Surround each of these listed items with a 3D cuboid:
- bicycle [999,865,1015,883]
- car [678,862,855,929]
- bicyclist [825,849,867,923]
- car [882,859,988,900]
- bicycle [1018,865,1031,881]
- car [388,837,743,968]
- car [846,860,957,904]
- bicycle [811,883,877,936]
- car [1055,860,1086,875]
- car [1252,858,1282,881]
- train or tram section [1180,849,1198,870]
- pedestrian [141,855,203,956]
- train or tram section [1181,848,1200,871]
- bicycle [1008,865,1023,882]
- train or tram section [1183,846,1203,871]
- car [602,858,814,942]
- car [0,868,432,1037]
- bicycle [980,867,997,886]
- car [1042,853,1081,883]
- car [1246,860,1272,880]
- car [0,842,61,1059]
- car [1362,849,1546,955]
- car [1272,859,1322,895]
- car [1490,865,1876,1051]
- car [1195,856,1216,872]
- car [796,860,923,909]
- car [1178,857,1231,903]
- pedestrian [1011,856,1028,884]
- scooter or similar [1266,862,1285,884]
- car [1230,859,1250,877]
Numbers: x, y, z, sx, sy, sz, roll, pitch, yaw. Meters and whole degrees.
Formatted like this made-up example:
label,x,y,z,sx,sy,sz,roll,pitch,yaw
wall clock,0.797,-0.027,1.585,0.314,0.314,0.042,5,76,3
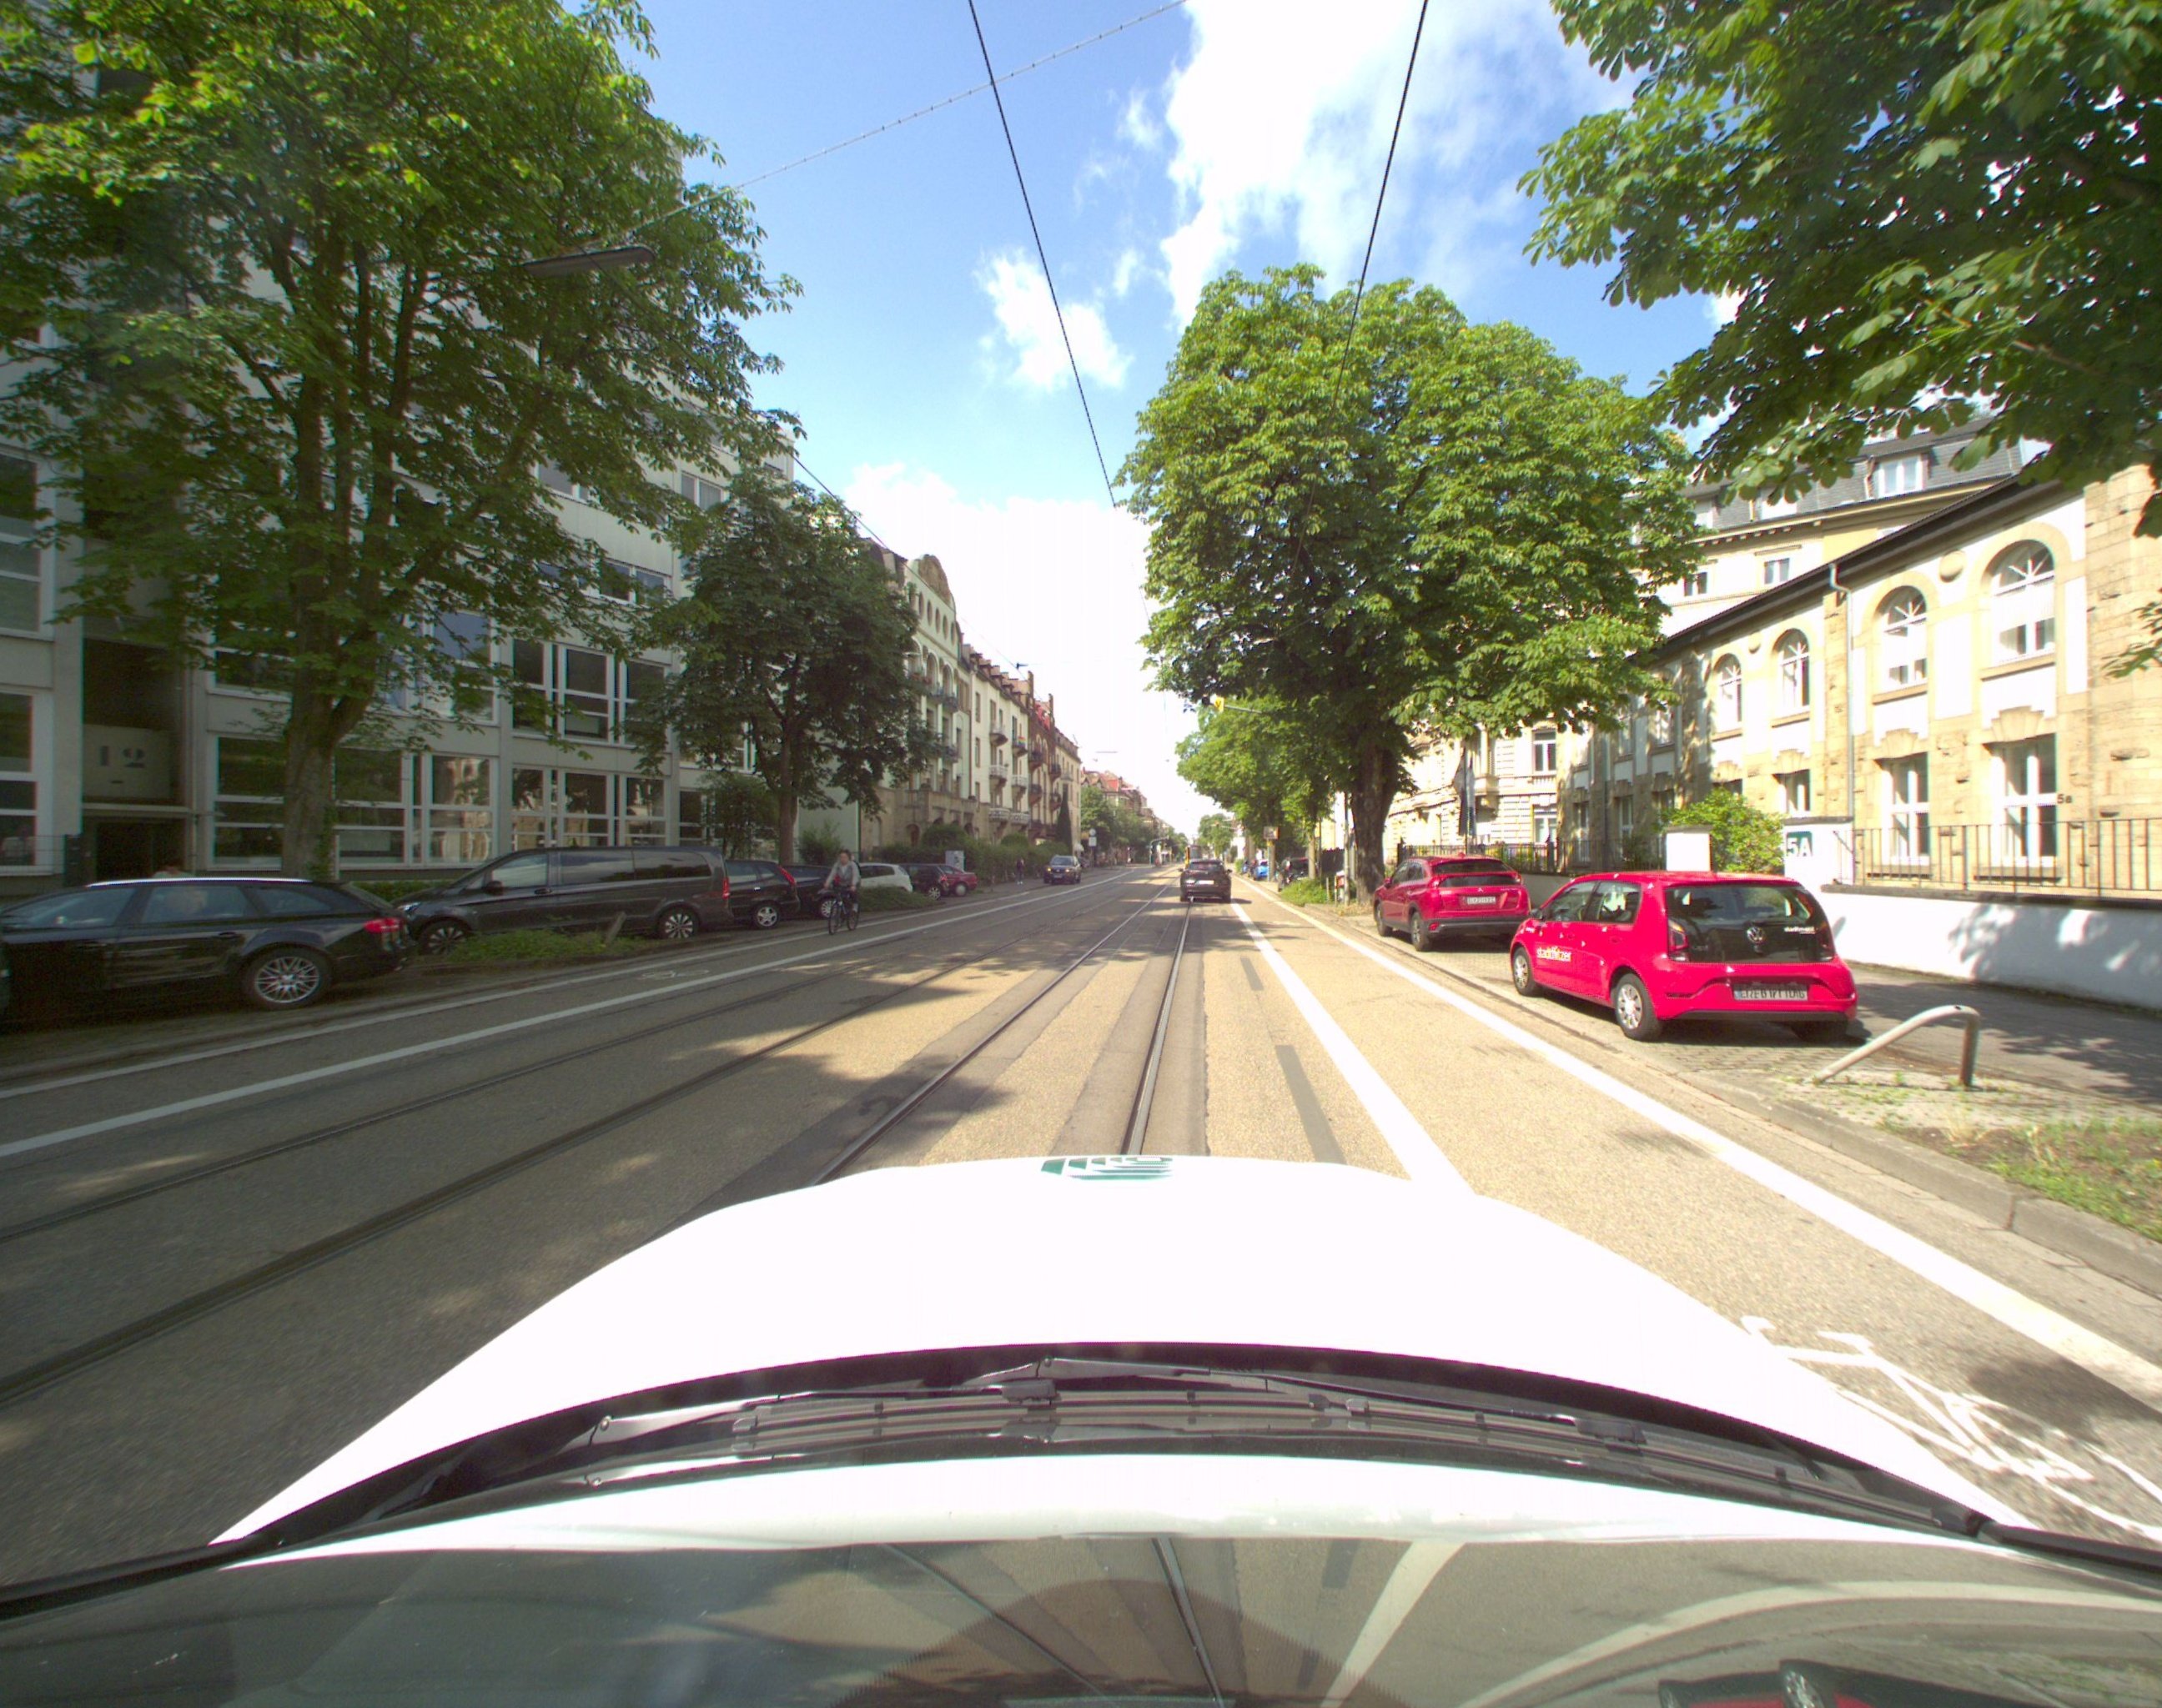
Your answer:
label,x,y,z,sx,sy,sz,roll,pitch,yaw
bicycle,-4.276,1.147,47.113,0.380,0.959,1.815,2,0,10
car,-8.173,1.029,21.273,4.016,1.484,1.722,-2,-1,-35
bicyclist,-5.118,0.699,17.798,0.638,1.577,0.743,-1,-1,6
car,-6.138,1.053,34.336,3.987,1.484,1.826,-2,-1,-35
bicycle,-3.551,1.200,51.293,0.380,0.959,1.926,2,0,10
car,-9.177,0.742,14.889,5.193,1.954,1.895,-2,-1,-38
car,-6.866,1.045,31.251,3.820,1.484,1.681,-2,-1,-32
bicycle,-5.115,1.170,17.712,0.652,1.040,2.004,-1,-1,6
car,-1.187,1.537,91.639,3.215,1.513,1.684,2,-1,11
car,13.009,1.070,57.125,1.631,1.496,3.634,-1,-1,7
train or tram section,18.275,0.981,138.543,2.639,3.528,8.508,-1,-1,5
pedestrian,-14.794,0.816,13.262,0.870,1.577,0.649,-2,-2,42
train or tram section,17.458,0.858,130.068,2.639,3.528,8.508,-1,-1,5
bicycle,-3.947,1.188,49.184,0.380,0.959,1.815,2,0,10
train or tram section,16.650,0.739,121.595,2.639,3.528,8.508,-1,-1,5
car,-8.294,0.956,18.236,4.018,1.593,1.721,-2,-1,-36
car,-9.495,0.941,8.646,4.019,1.417,1.740,-2,-1,-38
bicycle,-4.932,1.186,43.459,0.380,0.959,1.815,2,0,10
car,-1.124,0.846,50.058,1.776,1.762,4.891,0,0,6
car,14.156,1.272,64.981,1.631,1.496,3.764,-1,-1,6
car,-10.065,0.801,5.409,3.731,1.693,1.741,-2,-1,-36
car,6.777,0.798,15.360,1.866,1.676,4.289,-2,-1,6
car,10.174,1.053,38.573,1.687,1.591,4.211,-2,-1,7
car,5.736,0.876,8.367,1.591,1.428,3.604,-3,-1,8
car,11.883,0.906,77.894,1.776,1.492,4.891,0,0,6
car,-7.593,1.017,28.031,3.825,1.484,1.678,-2,-1,-37
car,4.502,0.904,30.006,1.780,1.512,4.360,1,0,7
pedestrian,-3.483,0.886,46.138,0.676,1.568,0.884,2,0,10
scooter or similar,12.007,1.163,50.257,0.442,1.299,1.173,-3,1,-22
car,14.635,1.275,75.194,1.615,1.496,3.856,-2,-1,8
